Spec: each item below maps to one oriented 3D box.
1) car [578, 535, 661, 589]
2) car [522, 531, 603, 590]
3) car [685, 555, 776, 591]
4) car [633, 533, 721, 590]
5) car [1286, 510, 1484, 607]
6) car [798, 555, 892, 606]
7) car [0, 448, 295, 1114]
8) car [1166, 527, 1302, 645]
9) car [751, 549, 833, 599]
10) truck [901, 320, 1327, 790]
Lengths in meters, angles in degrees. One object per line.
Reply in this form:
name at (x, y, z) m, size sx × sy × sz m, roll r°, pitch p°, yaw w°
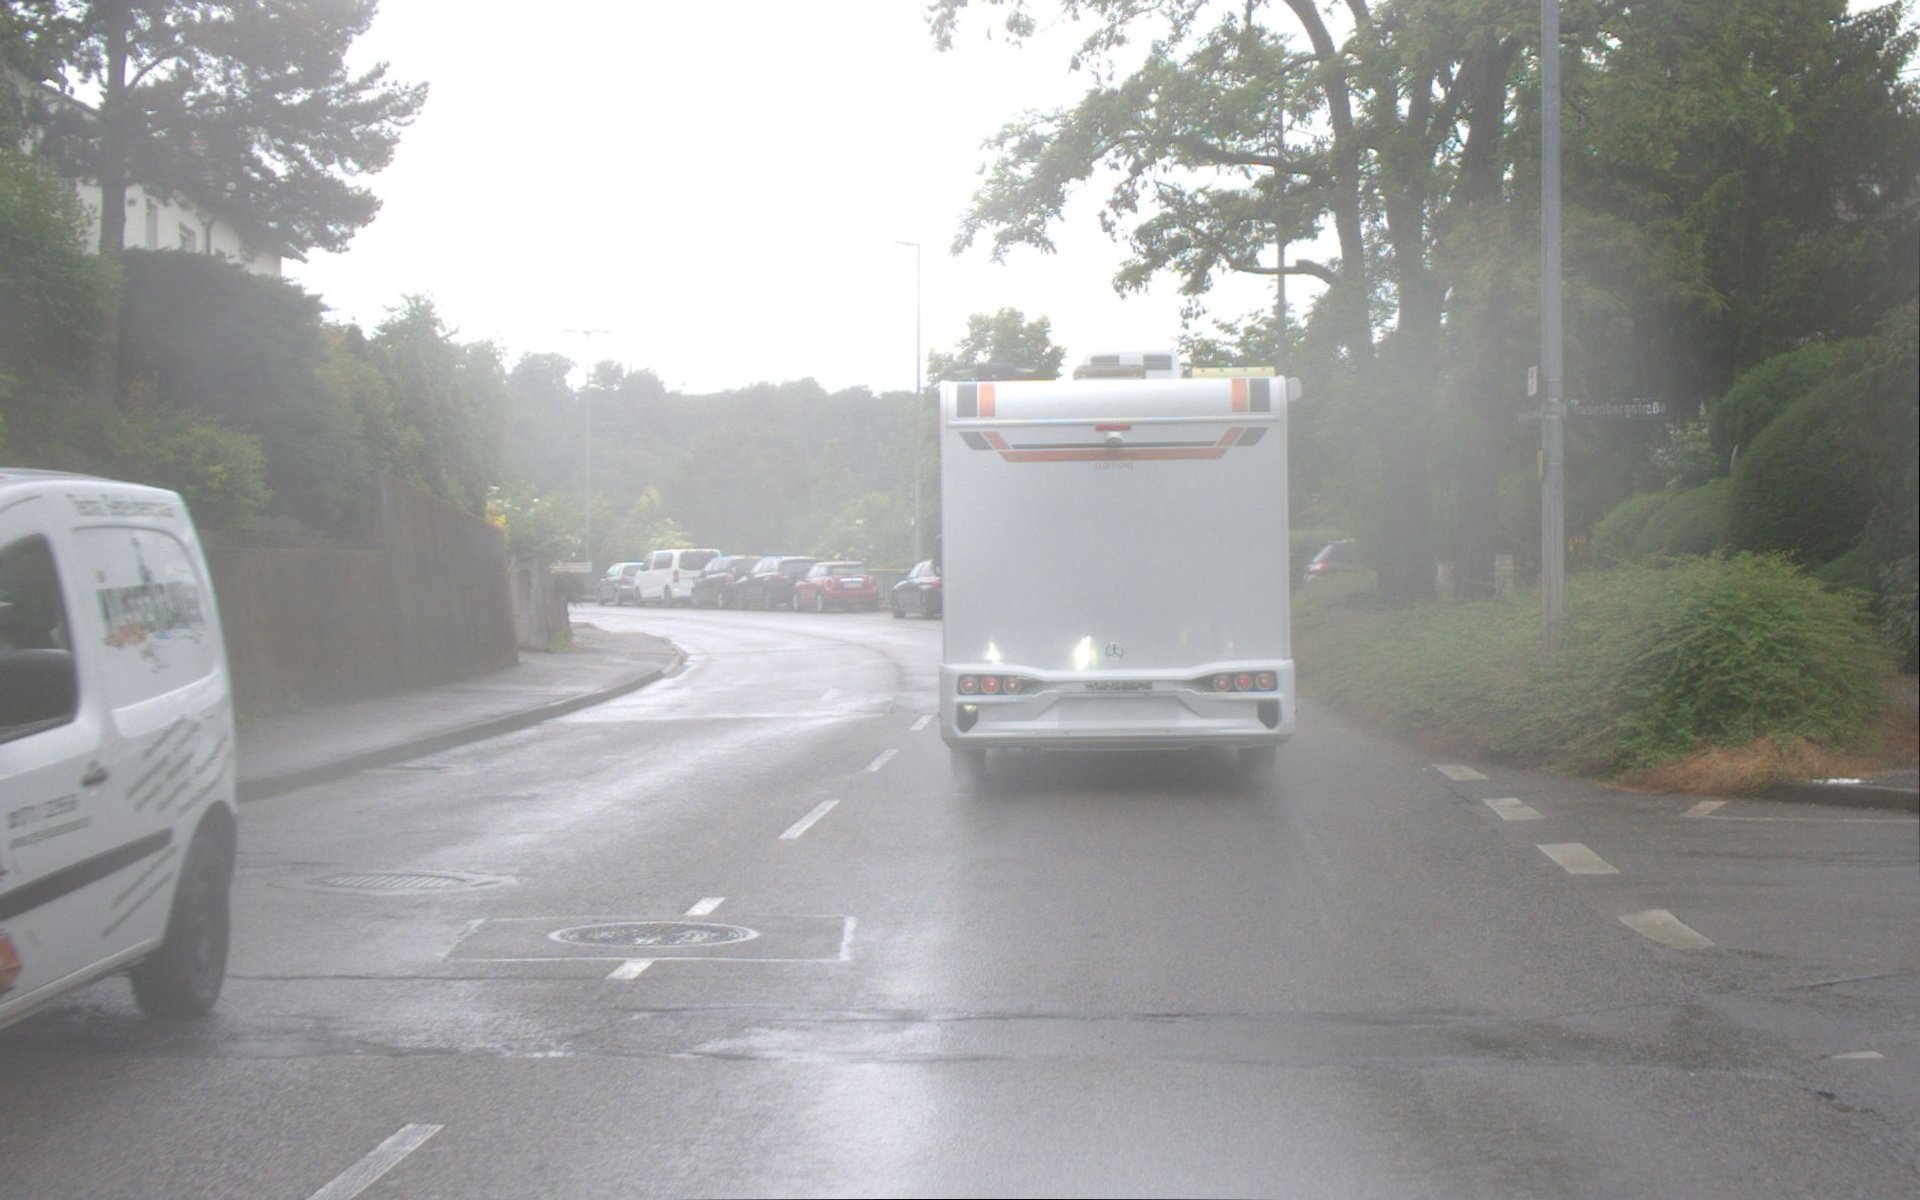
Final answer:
car at (-11.790, -1.293, 118.837) m, size 1.645 × 1.715 × 4.001 m, roll 4°, pitch -2°, yaw -23°
car at (-15.042, -1.482, 129.934) m, size 1.739 × 2.037 × 4.515 m, roll 4°, pitch -2°, yaw -23°
car at (-7.246, -0.844, 108.182) m, size 1.645 × 1.097 × 4.001 m, roll 0°, pitch 1°, yaw -23°
car at (-9.339, -1.257, 113.169) m, size 1.645 × 1.715 × 4.001 m, roll 4°, pitch -2°, yaw -23°
car at (8.482, -0.813, 68.874) m, size 3.624 × 1.658 × 2.000 m, roll 3°, pitch -2°, yaw -1°
car at (-3.305, -0.540, 98.052) m, size 1.539 × 1.322 × 3.865 m, roll 4°, pitch -2°, yaw -19°
car at (-3.384, 0.442, 9.935) m, size 1.840 × 1.749 × 4.420 m, roll 2°, pitch 1°, yaw 3°
car at (4.353, -0.190, 55.097) m, size 1.994 × 1.634 × 3.999 m, roll 3°, pitch -2°, yaw 3°
car at (-5.052, -0.769, 102.793) m, size 1.539 × 1.322 × 4.001 m, roll 4°, pitch -2°, yaw -15°
truck at (0.990, -0.194, 24.622) m, size 2.515 × 2.808 × 6.201 m, roll 3°, pitch -2°, yaw 1°
